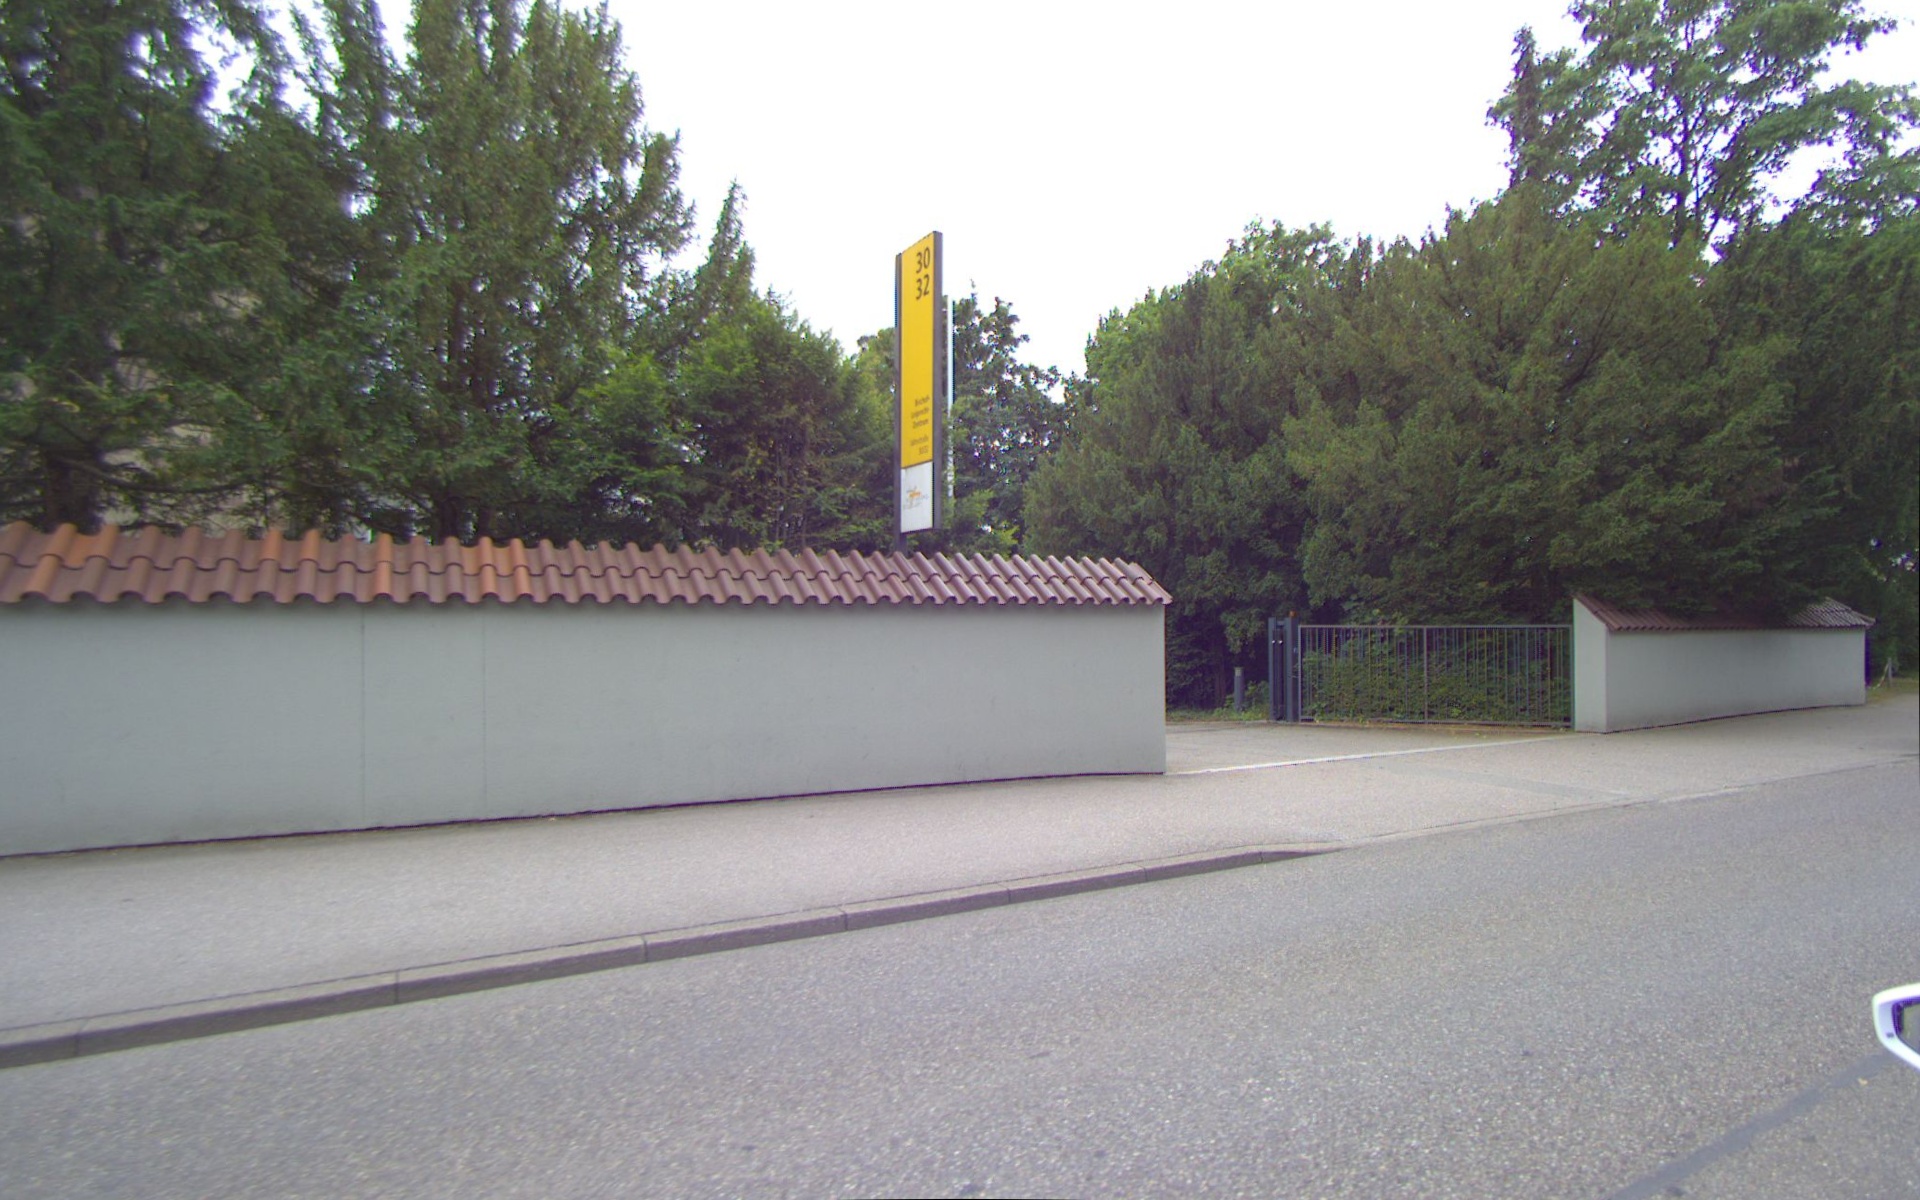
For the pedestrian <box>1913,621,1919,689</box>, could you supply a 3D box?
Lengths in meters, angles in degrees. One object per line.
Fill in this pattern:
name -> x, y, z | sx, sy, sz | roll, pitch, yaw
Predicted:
pedestrian -> 22.855, 1.285, 23.367 | 0.896, 1.581, 0.917 | 2, -1, -42
